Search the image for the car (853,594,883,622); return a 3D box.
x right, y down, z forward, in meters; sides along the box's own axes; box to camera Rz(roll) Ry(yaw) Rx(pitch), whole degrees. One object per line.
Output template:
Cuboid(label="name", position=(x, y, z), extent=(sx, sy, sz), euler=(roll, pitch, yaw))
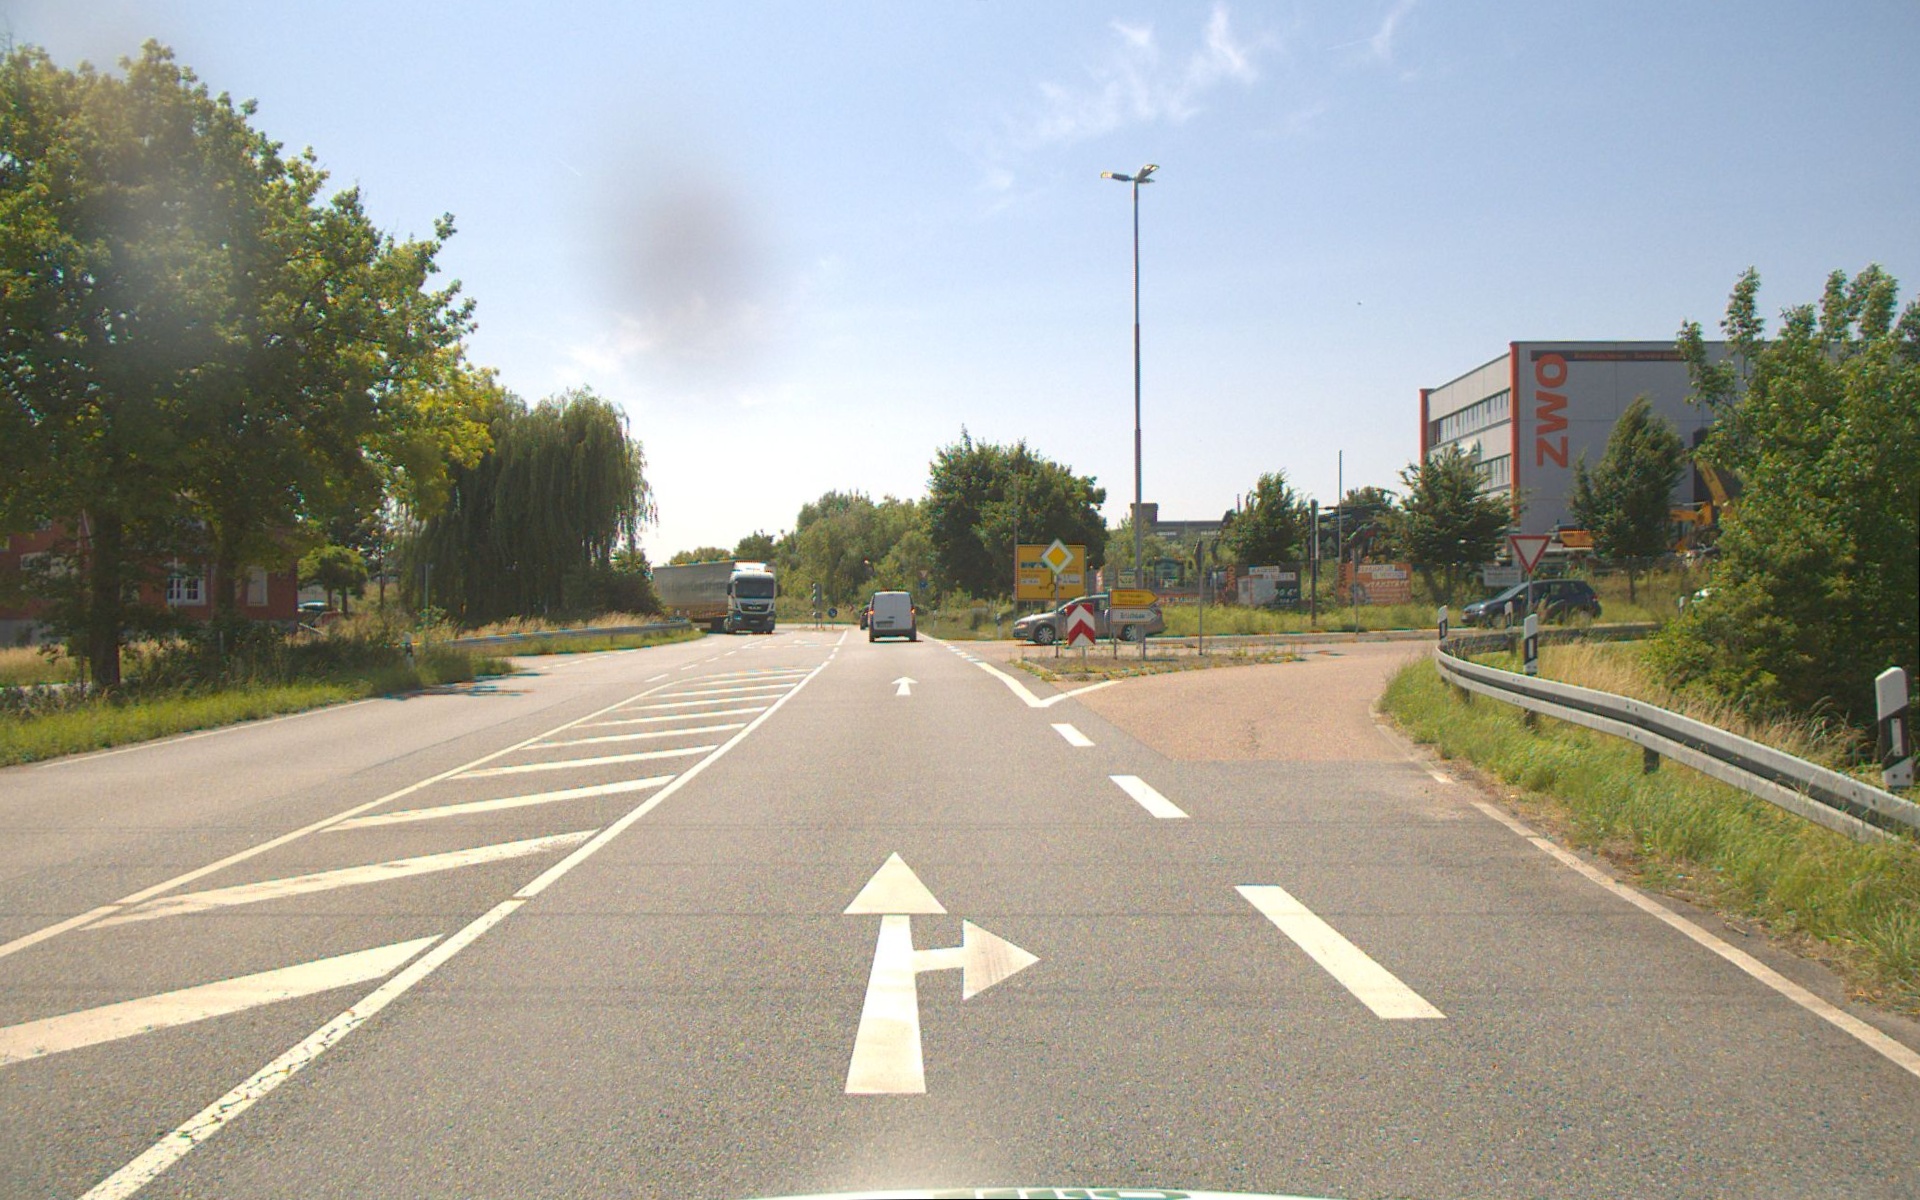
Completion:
Cuboid(label="car", position=(-5.518, 0.465, 99.214), extent=(1.769, 1.583, 3.998), euler=(0, 1, -3))

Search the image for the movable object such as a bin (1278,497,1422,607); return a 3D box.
Cuboid(label="movable object such as a bin", position=(19.809, -2.381, 84.385), extent=(6.456, 5.238, 3.805), euler=(1, -2, 0))

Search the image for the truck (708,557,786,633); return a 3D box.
Cuboid(label="truck", position=(-12.144, -0.286, 93.765), extent=(2.751, 4.127, 6.708), euler=(1, 0, -22))

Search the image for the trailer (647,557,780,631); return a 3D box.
Cuboid(label="trailer", position=(-14.960, -0.434, 99.153), extent=(2.763, 4.127, 13.353), euler=(1, 0, -32))

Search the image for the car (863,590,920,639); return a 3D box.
Cuboid(label="car", position=(-2.560, 0.540, 60.663), extent=(1.867, 1.763, 3.817), euler=(0, -1, -6))

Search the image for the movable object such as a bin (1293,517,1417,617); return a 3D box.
Cuboid(label="movable object such as a bin", position=(18.041, -1.484, 75.779), extent=(4.981, 4.350, 2.834), euler=(1, -2, 0))

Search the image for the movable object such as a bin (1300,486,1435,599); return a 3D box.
Cuboid(label="movable object such as a bin", position=(19.781, -2.765, 80.489), extent=(5.797, 5.195, 3.108), euler=(1, -2, 0))

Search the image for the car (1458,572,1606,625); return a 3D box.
Cuboid(label="car", position=(17.411, -0.050, 50.472), extent=(3.917, 1.465, 1.634), euler=(-2, 0, -1))

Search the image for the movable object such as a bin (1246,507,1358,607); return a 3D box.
Cuboid(label="movable object such as a bin", position=(19.250, -2.377, 93.325), extent=(5.599, 5.362, 3.221), euler=(1, -2, 0))

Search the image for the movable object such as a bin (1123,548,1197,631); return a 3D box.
Cuboid(label="movable object such as a bin", position=(8.535, -0.378, 70.968), extent=(2.277, 3.307, 5.097), euler=(1, -2, -3))

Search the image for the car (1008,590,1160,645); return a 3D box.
Cuboid(label="car", position=(3.761, 0.521, 50.502), extent=(4.421, 1.534, 1.913), euler=(-1, 0, -3))
